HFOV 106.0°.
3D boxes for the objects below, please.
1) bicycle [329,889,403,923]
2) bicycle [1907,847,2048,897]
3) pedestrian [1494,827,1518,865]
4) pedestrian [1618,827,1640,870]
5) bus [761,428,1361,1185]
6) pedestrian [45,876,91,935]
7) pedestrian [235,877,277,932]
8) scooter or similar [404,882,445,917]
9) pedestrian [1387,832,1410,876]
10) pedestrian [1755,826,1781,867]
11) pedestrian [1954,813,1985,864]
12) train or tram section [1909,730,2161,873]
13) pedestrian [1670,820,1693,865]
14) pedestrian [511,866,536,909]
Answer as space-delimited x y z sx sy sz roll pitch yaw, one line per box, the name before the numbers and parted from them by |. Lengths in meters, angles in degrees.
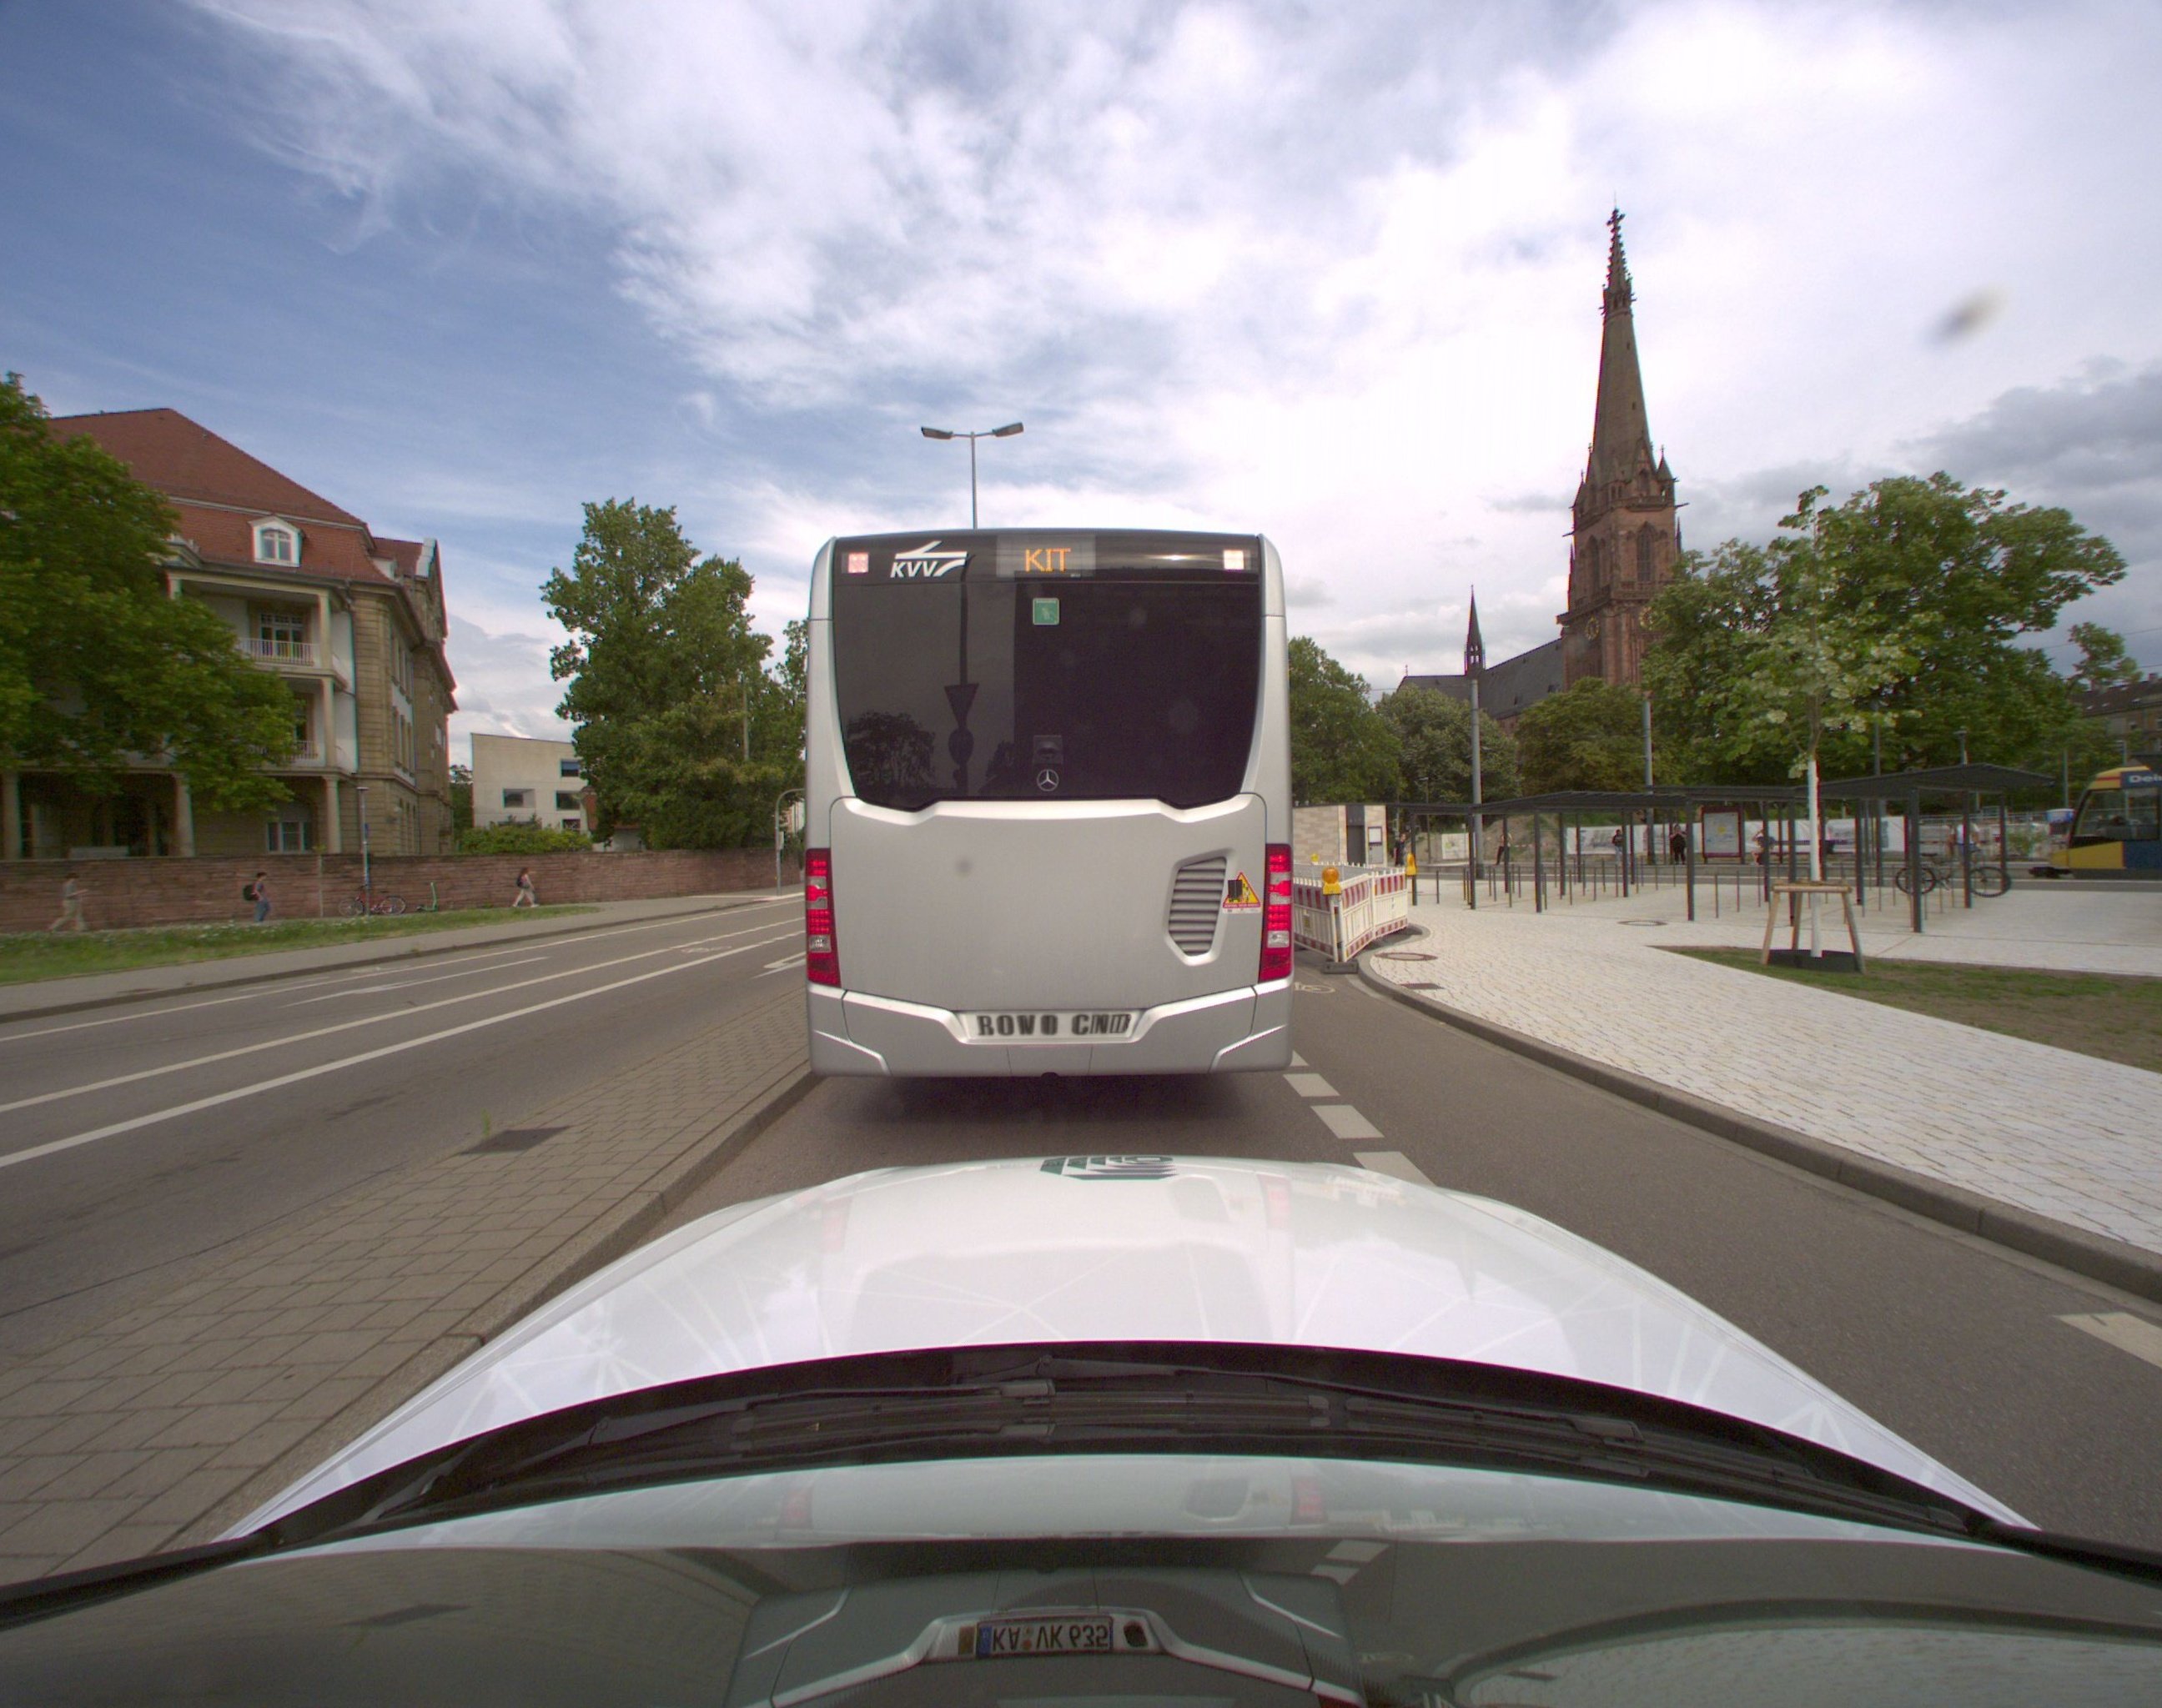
bicycle | -25.684 1.844 29.289 1.937 1.005 0.770 -4 3 -42
bicycle | 18.756 0.346 17.078 0.587 0.955 1.944 -3 3 -38
pedestrian | 20.388 -0.382 39.072 0.816 1.800 0.755 -1 2 11
pedestrian | 23.341 -0.251 34.684 0.526 1.800 0.670 -4 3 -42
bus | -0.014 -0.195 10.860 2.695 3.438 14.184 -1 0 1
pedestrian | -30.207 1.531 24.288 0.570 1.654 0.787 0 3 38
pedestrian | -26.592 1.615 26.258 0.570 1.654 0.787 0 3 33
scooter or similar | -24.540 1.684 30.455 0.519 1.139 1.513 -2 3 -13
pedestrian | 12.310 -0.006 31.611 0.534 1.654 0.623 -3 3 -36
pedestrian | 26.032 -0.290 30.861 0.694 1.485 0.670 -4 3 -42
pedestrian | 29.707 -0.533 27.238 0.714 1.677 0.670 -4 3 -42
train or tram section | 26.297 -1.267 19.090 3.076 3.276 9.270 -3 3 -35
pedestrian | 24.419 -0.474 33.125 0.526 1.800 0.670 -4 3 -42
pedestrian | -22.524 1.338 32.908 0.525 1.654 0.634 0 3 34
